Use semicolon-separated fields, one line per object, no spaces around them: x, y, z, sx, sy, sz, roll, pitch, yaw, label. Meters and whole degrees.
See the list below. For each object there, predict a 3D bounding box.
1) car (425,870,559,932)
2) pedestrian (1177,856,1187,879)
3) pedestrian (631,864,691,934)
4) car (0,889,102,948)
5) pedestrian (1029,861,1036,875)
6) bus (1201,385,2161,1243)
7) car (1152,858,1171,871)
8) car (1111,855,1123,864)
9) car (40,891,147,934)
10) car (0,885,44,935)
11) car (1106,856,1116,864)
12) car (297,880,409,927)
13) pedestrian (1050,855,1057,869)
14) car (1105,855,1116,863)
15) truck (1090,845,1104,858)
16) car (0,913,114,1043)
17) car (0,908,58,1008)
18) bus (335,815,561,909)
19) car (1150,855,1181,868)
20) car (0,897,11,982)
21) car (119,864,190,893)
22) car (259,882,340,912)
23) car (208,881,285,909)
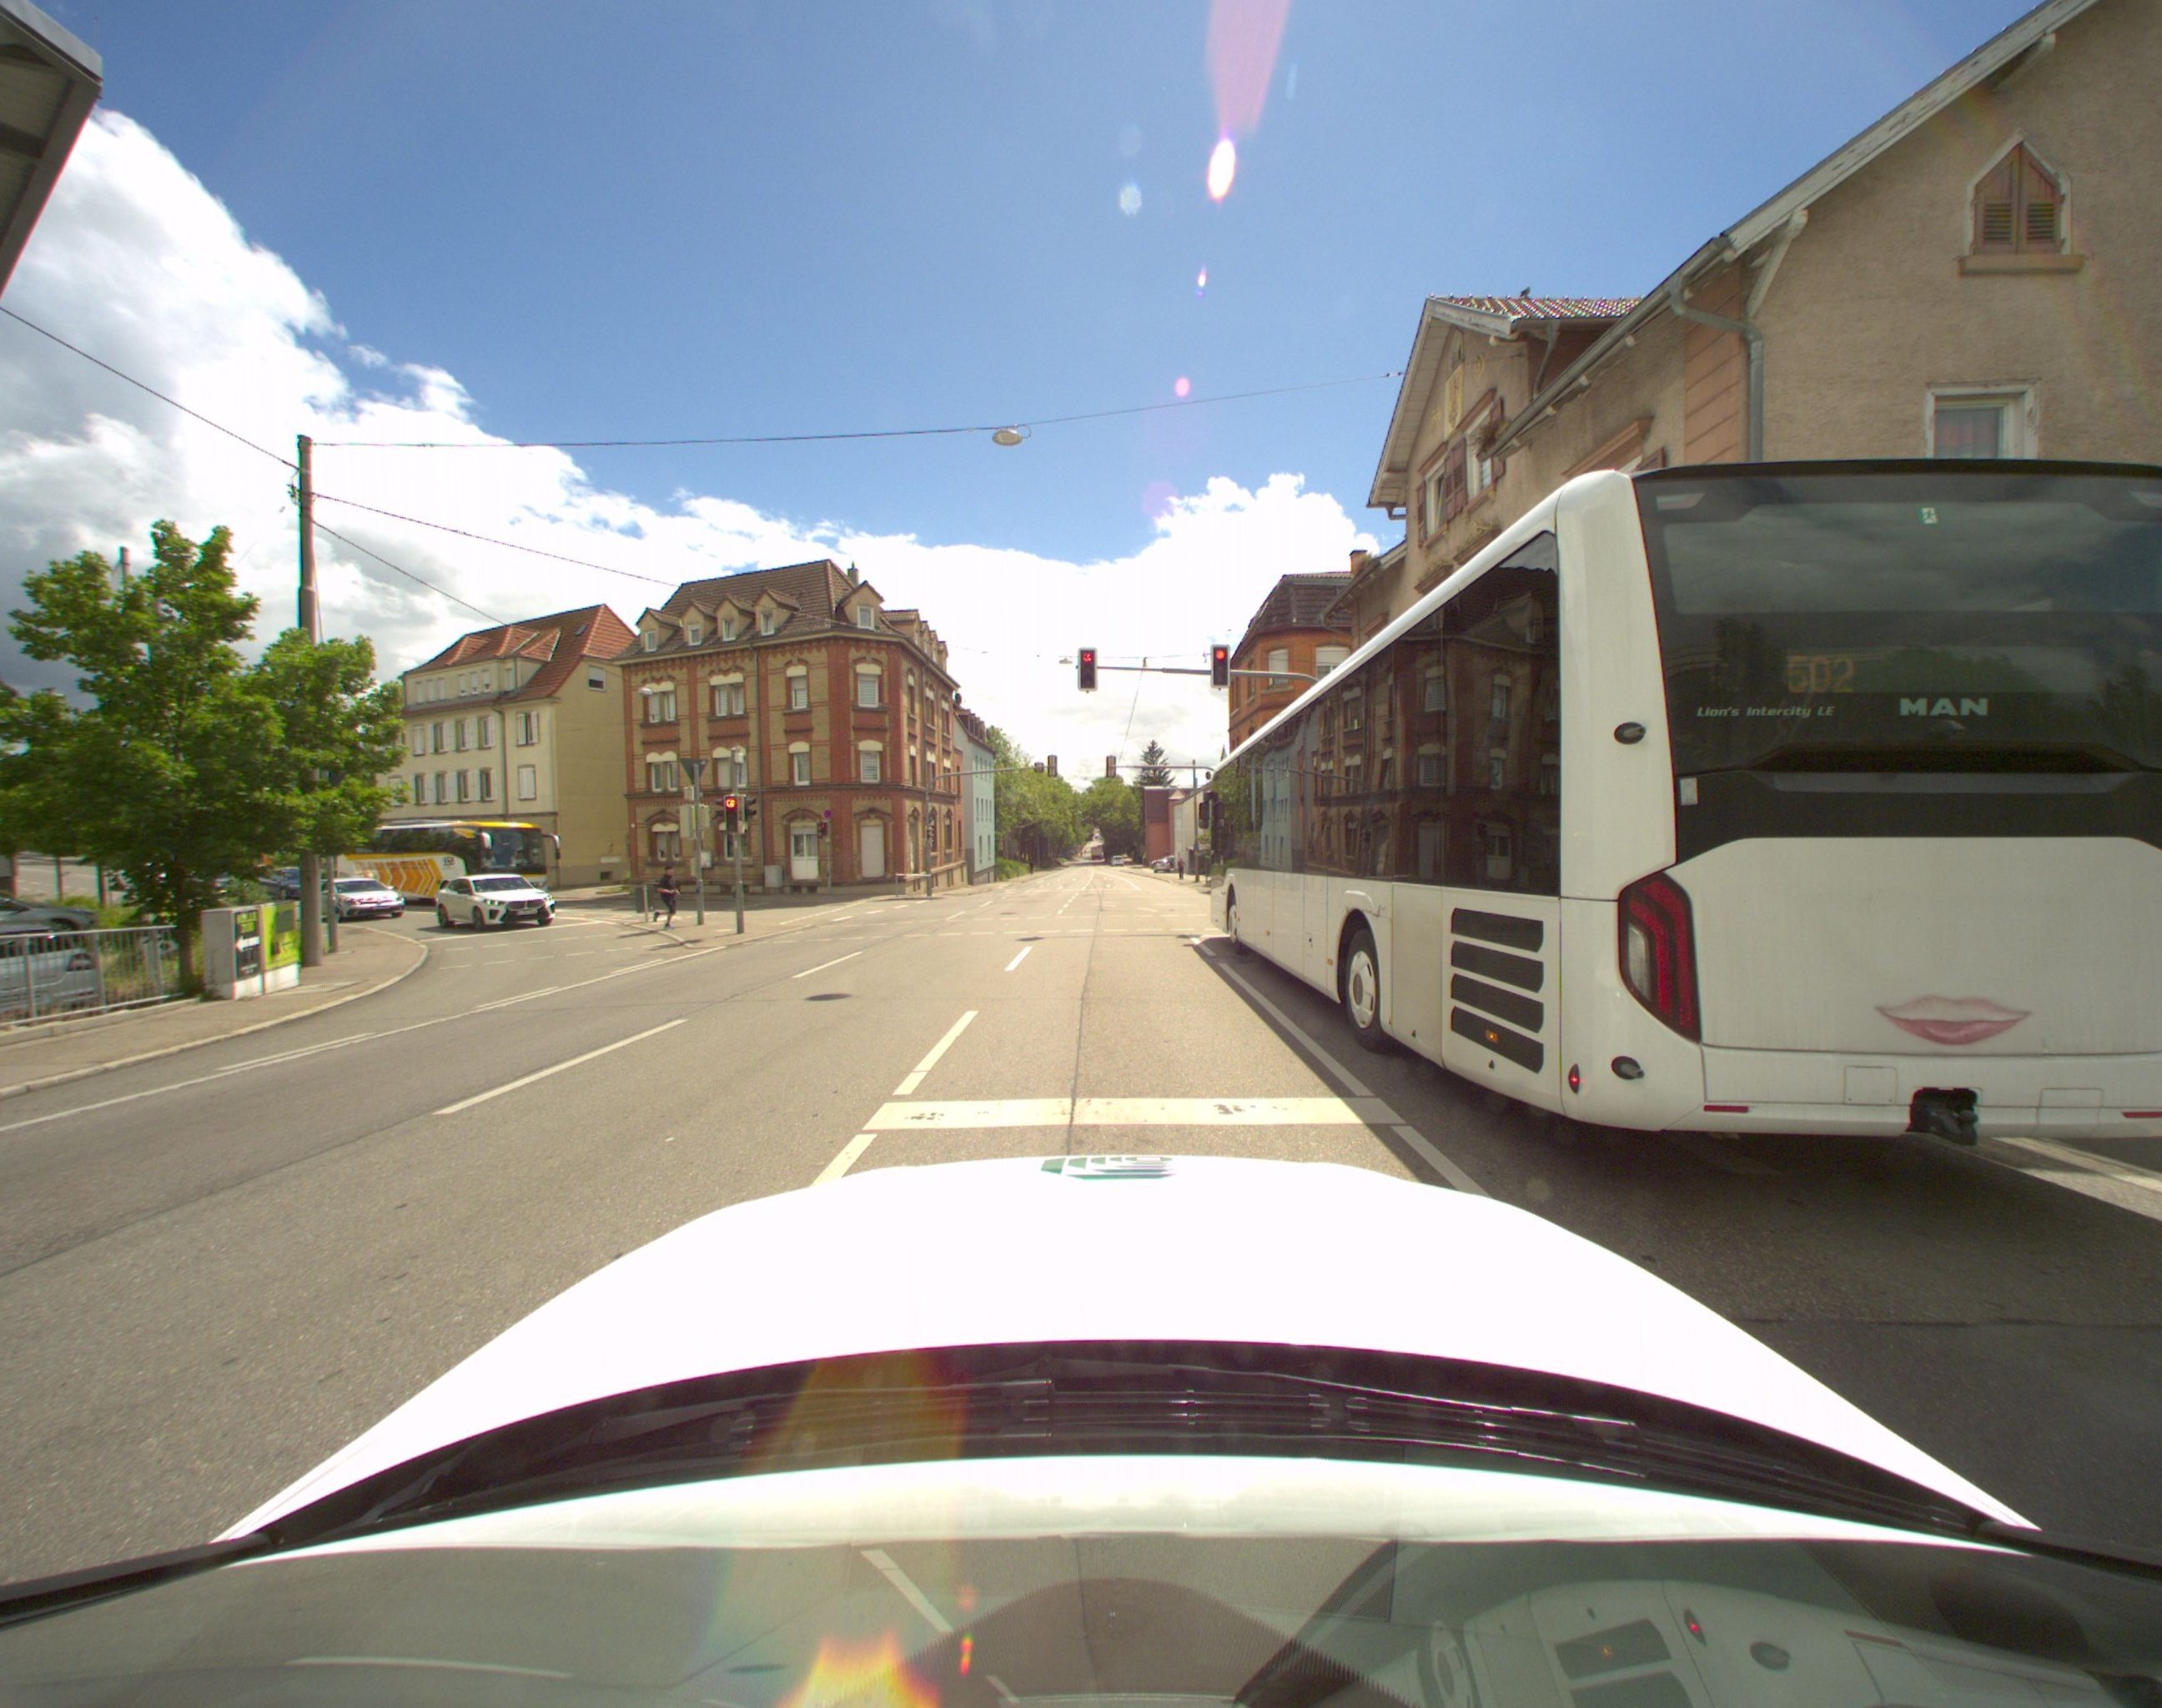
-17.621;1.426;24.309;4.250;1.552;1.845;-5;-2;34;car
8.092;1.081;65.290;0.736;1.750;0.619;-2;0;1;pedestrian
-10.837;1.140;21.037;1.138;1.734;0.758;-2;0;-3;pedestrian
-29.525;1.783;22.124;1.777;1.477;3.522;-2;0;32;car
-5.453;1.551;91.447;0.727;1.565;0.561;-1;-1;0;pedestrian
3.435;-0.144;9.263;2.662;3.155;12.467;-1;0;2;bus
9.223;1.160;93.019;1.788;1.409;4.000;-2;0;1;car
5.757;0.930;129.498;1.787;1.409;4.001;-1;0;2;car
-37.479;2.199;30.903;3.456;1.448;1.811;-2;0;26;car
-36.139;1.854;25.627;1.785;1.553;4.023;-2;0;25;car
5.738;1.101;154.016;1.787;1.409;4.421;-1;0;3;car
-25.552;1.719;28.573;3.574;1.418;1.896;-3;1;31;car
-4.110;1.189;121.813;0.991;2.013;1.189;-2;0;1;pedestrian
5.281;0.966;145.916;1.787;1.409;4.421;-1;0;3;car
3.932;-0.566;201.709;2.917;3.081;7.883;-2;0;0;truck
-15.988;1.789;12.035;3.321;1.560;1.692;0;2;32;car
-19.607;1.818;14.186;3.455;1.526;1.626;-1;2;29;car
-27.640;0.418;35.286;12.109;3.622;2.788;-1;0;27;bus
11.768;1.026;113.075;3.978;1.757;1.998;-2;0;-3;car
-23.528;1.757;16.535;3.455;1.680;1.663;-1;2;30;car
-53.585;1.406;47.108;3.949;1.554;1.923;-2;0;29;car
-39.154;2.135;40.798;3.949;1.409;1.762;-2;0;28;car
-45.715;2.215;44.613;3.949;1.409;1.923;-2;0;29;car
